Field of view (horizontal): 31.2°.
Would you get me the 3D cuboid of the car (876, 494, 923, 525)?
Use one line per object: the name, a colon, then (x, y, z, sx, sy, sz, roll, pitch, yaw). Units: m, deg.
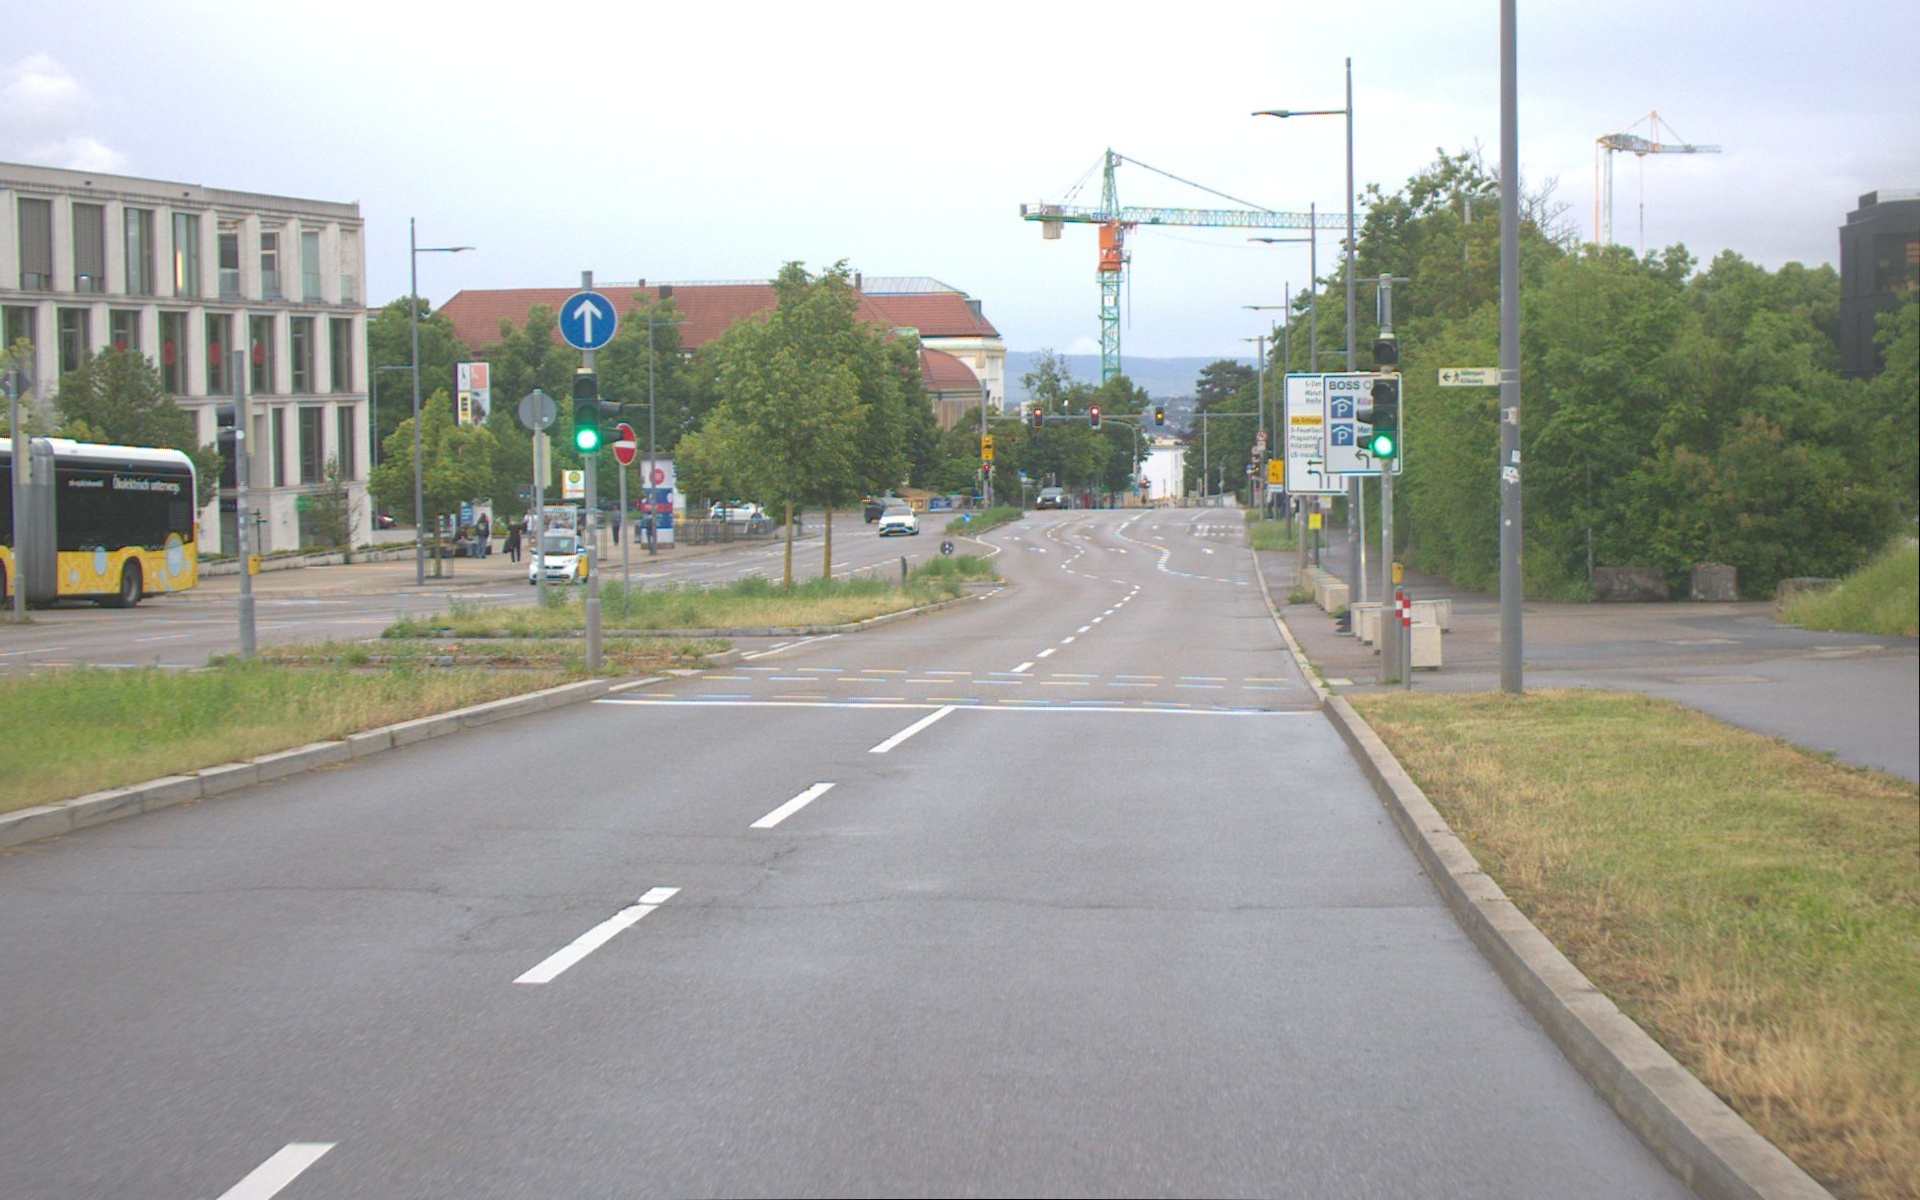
car: (-3.038, -4.559, 173.513, 1.770, 1.489, 4.066, 0, 0, 8)

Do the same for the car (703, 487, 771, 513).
car: (-13.478, -6.044, 207.680, 3.874, 1.489, 1.737, 0, 0, 6)

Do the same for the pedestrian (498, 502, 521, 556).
pedestrian: (-16.410, -2.574, 125.186, 0.748, 1.940, 0.838, 0, 0, -13)

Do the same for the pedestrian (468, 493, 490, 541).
pedestrian: (-18.688, -3.210, 133.567, 0.748, 1.846, 0.838, 0, 0, -13)

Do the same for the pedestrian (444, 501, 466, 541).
pedestrian: (-19.670, -3.083, 133.807, 0.835, 1.527, 0.751, 0, 0, -9)

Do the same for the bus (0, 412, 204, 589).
bus: (-19.566, -1.885, 65.799, 2.786, 3.345, 18.217, 0, 0, 12)

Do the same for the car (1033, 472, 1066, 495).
car: (6.364, -8.226, 243.339, 1.770, 1.489, 4.066, 0, 0, 9)

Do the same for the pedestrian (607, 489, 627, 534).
pedestrian: (-15.205, -3.918, 152.235, 0.748, 2.007, 0.838, 0, 0, -13)

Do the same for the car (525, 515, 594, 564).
car: (-12.505, -1.889, 107.538, 1.479, 1.489, 2.529, 0, 0, 10)
